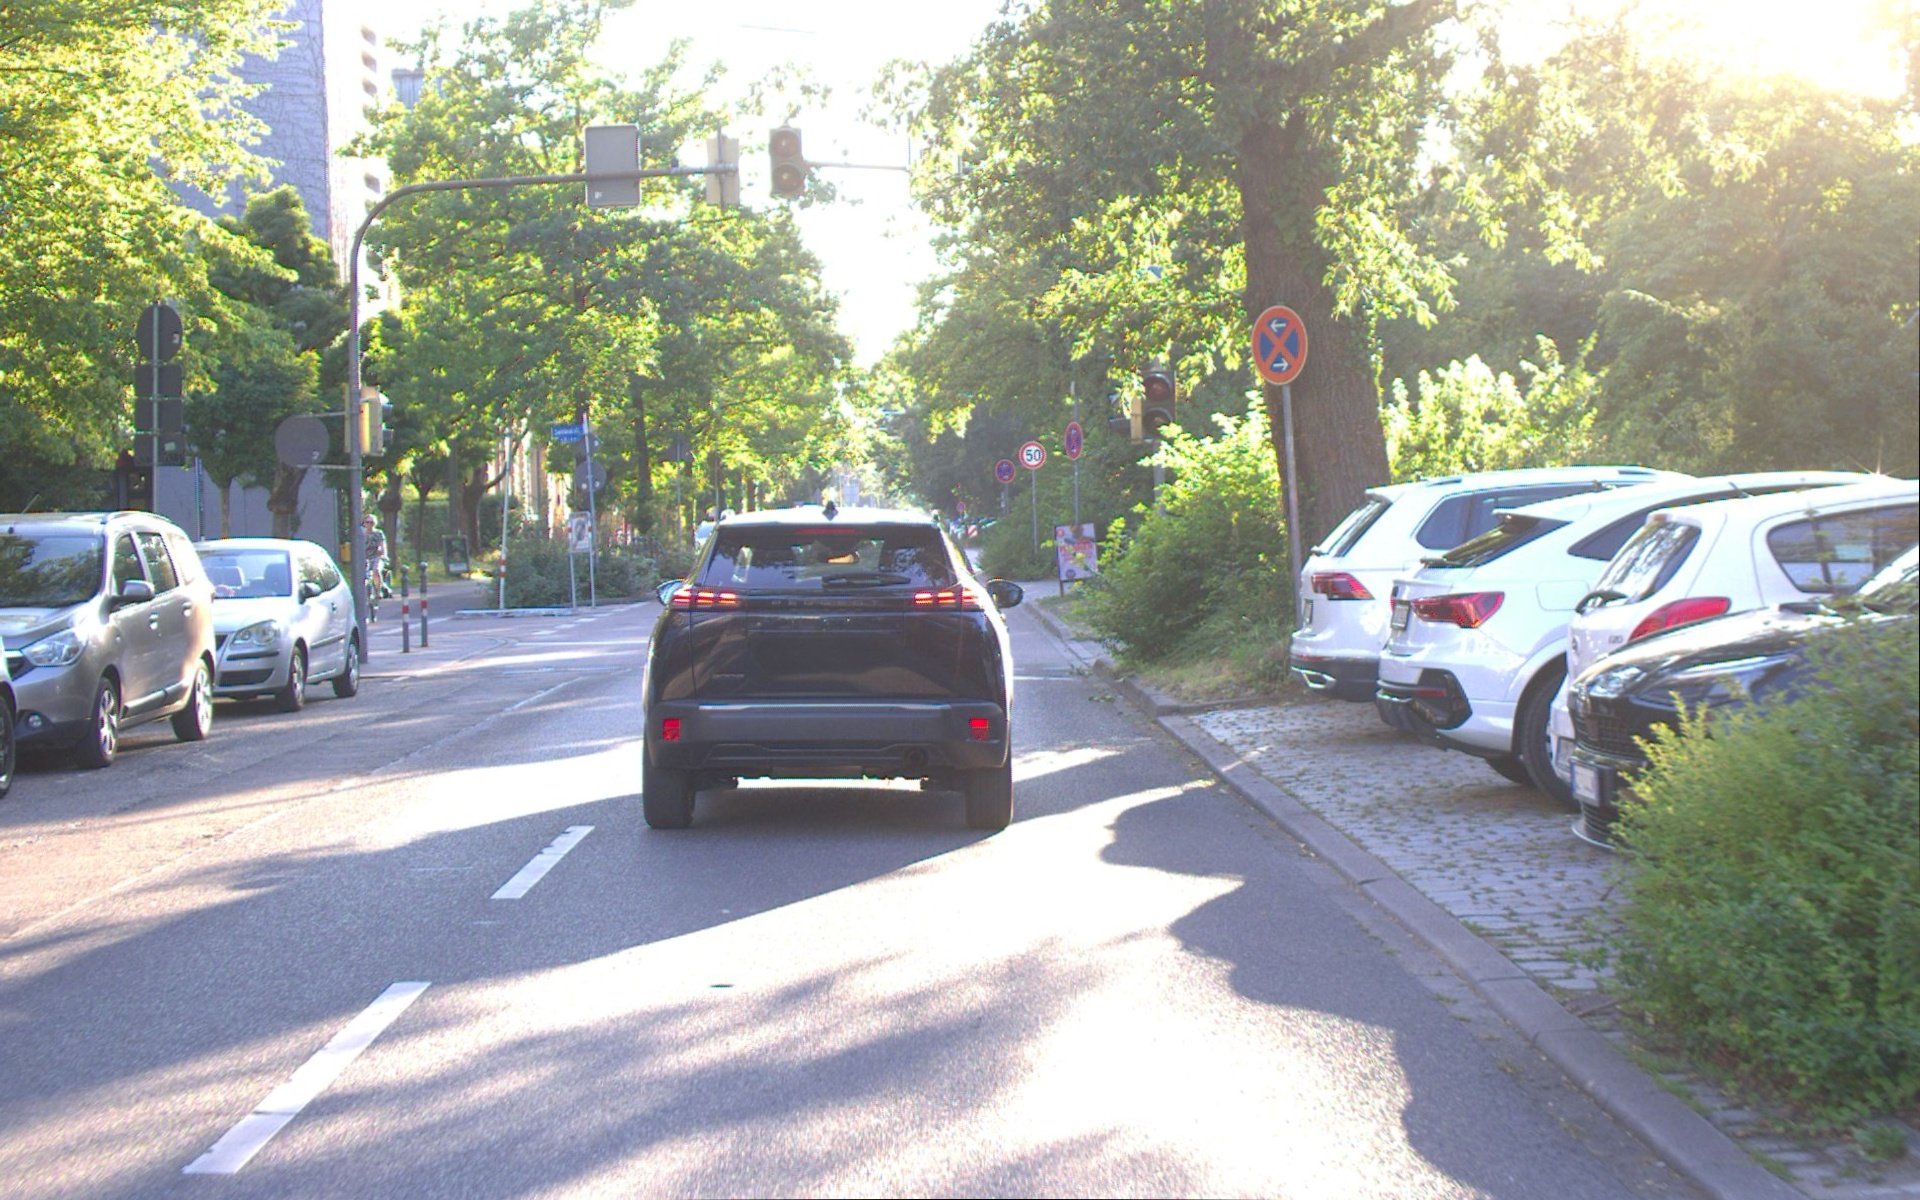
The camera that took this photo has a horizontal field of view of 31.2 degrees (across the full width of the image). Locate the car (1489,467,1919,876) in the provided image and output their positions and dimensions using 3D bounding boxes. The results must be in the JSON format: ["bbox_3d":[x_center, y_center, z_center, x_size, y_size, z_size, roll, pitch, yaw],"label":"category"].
[{"bbox_3d":[4.236,0.222,14.639,3.588,1.561,1.818,-3,0,-1],"label":"car"}]

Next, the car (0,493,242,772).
[{"bbox_3d":[-6.258,0.161,23.612,1.679,1.702,4.341,-2,2,0],"label":"car"}]

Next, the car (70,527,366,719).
[{"bbox_3d":[-6.376,0.146,29.929,1.679,1.452,3.882,-2,2,0],"label":"car"}]

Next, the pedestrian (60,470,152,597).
[{"bbox_3d":[-12.510,-0.974,50.350,0.821,1.817,0.955,0,2,37],"label":"pedestrian"}]

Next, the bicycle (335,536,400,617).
[{"bbox_3d":[-9.467,-0.384,54.997,0.686,1.245,2.193,0,1,-1],"label":"bicycle"}]

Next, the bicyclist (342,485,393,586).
[{"bbox_3d":[-9.476,-1.035,54.979,0.675,1.598,0.706,0,1,0],"label":"bicyclist"}]

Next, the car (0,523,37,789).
[{"bbox_3d":[-6.271,0.398,18.101,1.671,1.488,4.062,-2,2,0],"label":"car"}]

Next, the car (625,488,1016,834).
[{"bbox_3d":[-0.670,0.224,17.377,1.768,1.563,3.381,-1,2,-1],"label":"car"}]

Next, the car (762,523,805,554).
[{"bbox_3d":[-8.069,-2.812,156.998,1.810,1.349,4.001,-2,2,-4],"label":"car"}]

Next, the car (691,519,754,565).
[{"bbox_3d":[-7.398,-1.806,106.859,1.810,1.349,4.001,-2,2,-6],"label":"car"}]

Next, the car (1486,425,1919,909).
[{"bbox_3d":[3.897,0.197,12.221,3.744,1.589,1.697,0,1,-2],"label":"car"}]

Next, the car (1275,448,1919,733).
[{"bbox_3d":[4.124,-0.079,21.807,4.171,1.704,1.867,0,1,4],"label":"car"}]

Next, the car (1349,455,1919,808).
[{"bbox_3d":[4.099,0.129,17.081,4.122,1.661,1.723,0,1,0],"label":"car"}]
